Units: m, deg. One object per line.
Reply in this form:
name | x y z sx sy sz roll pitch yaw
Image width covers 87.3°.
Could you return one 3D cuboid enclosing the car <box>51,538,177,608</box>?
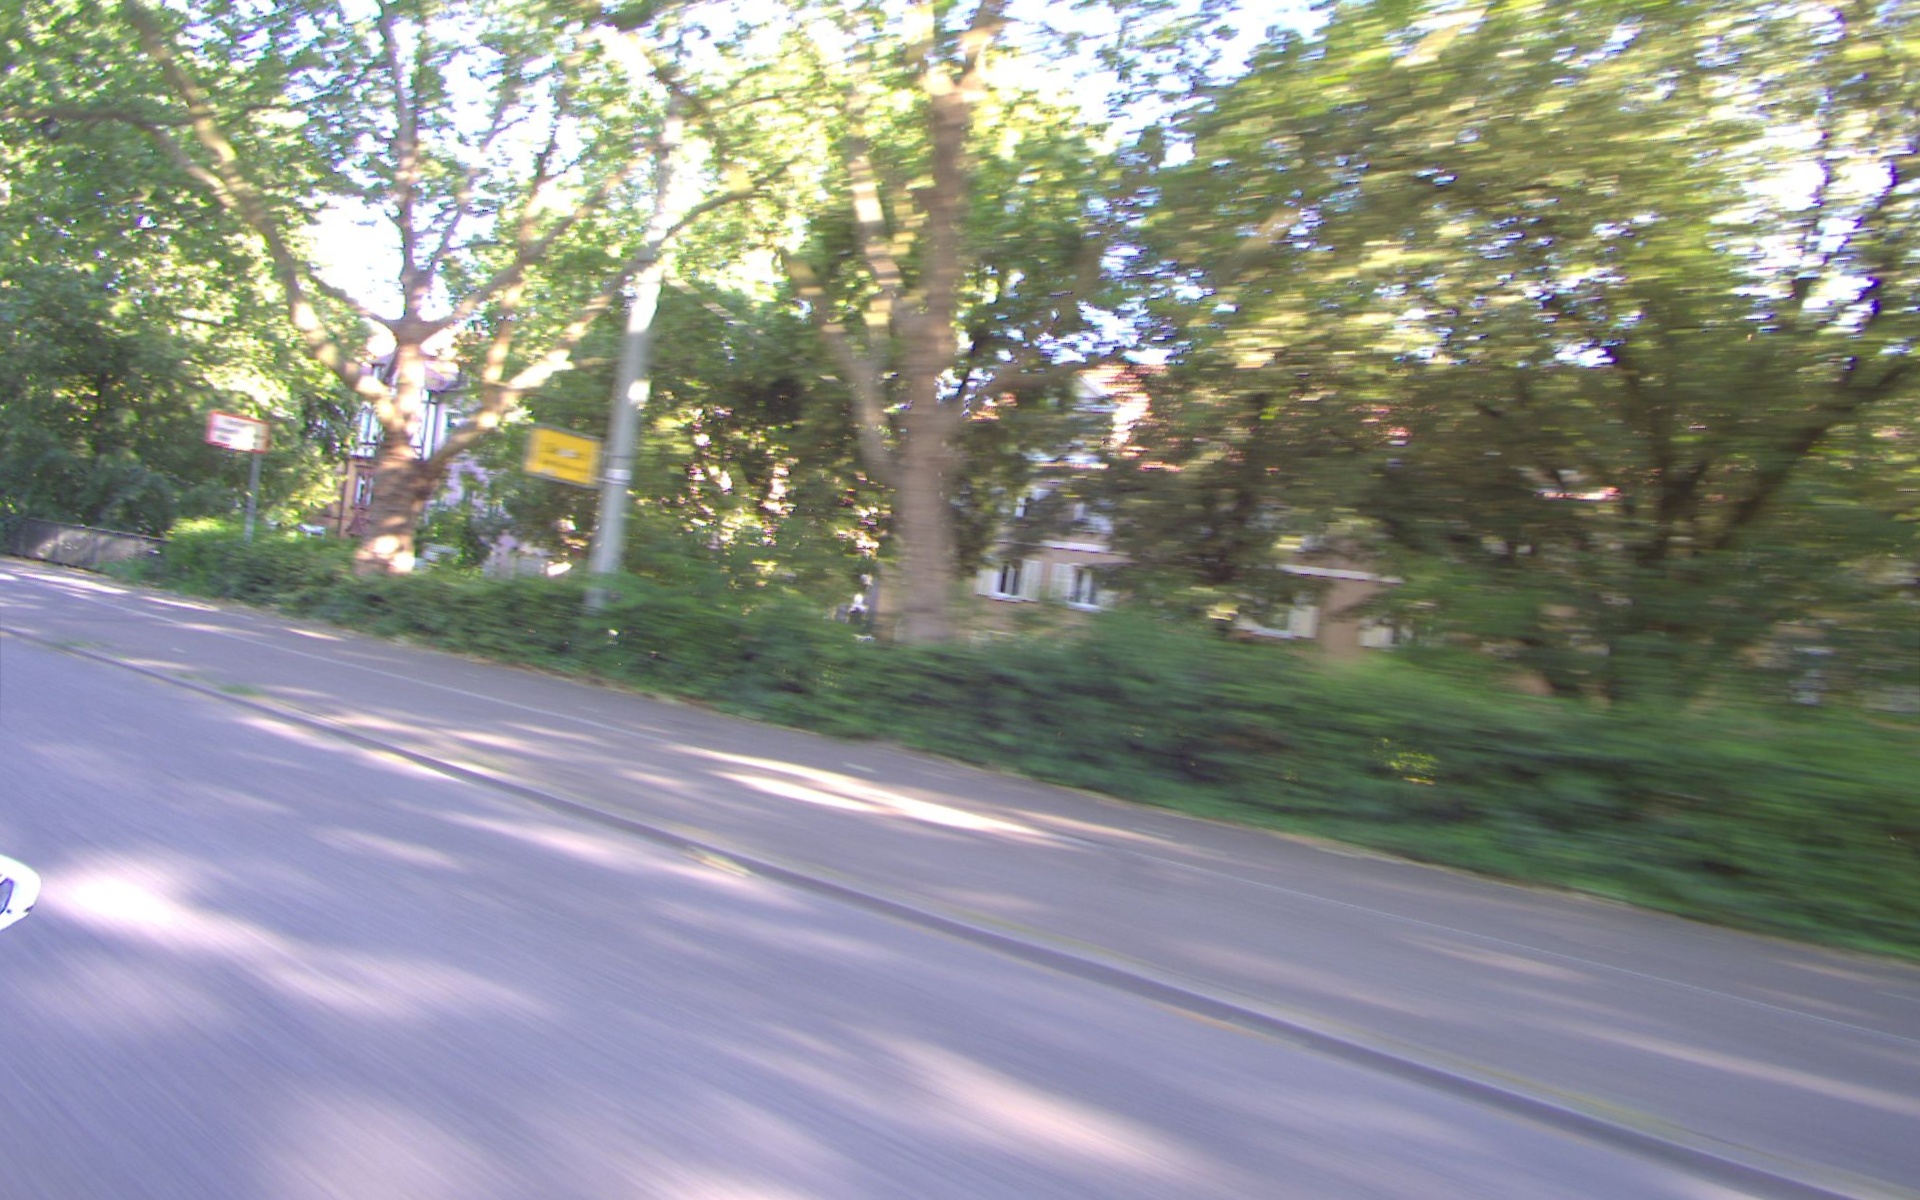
car | -29.206 -0.948 34.714 4.030 1.833 1.908 7 -2 30
